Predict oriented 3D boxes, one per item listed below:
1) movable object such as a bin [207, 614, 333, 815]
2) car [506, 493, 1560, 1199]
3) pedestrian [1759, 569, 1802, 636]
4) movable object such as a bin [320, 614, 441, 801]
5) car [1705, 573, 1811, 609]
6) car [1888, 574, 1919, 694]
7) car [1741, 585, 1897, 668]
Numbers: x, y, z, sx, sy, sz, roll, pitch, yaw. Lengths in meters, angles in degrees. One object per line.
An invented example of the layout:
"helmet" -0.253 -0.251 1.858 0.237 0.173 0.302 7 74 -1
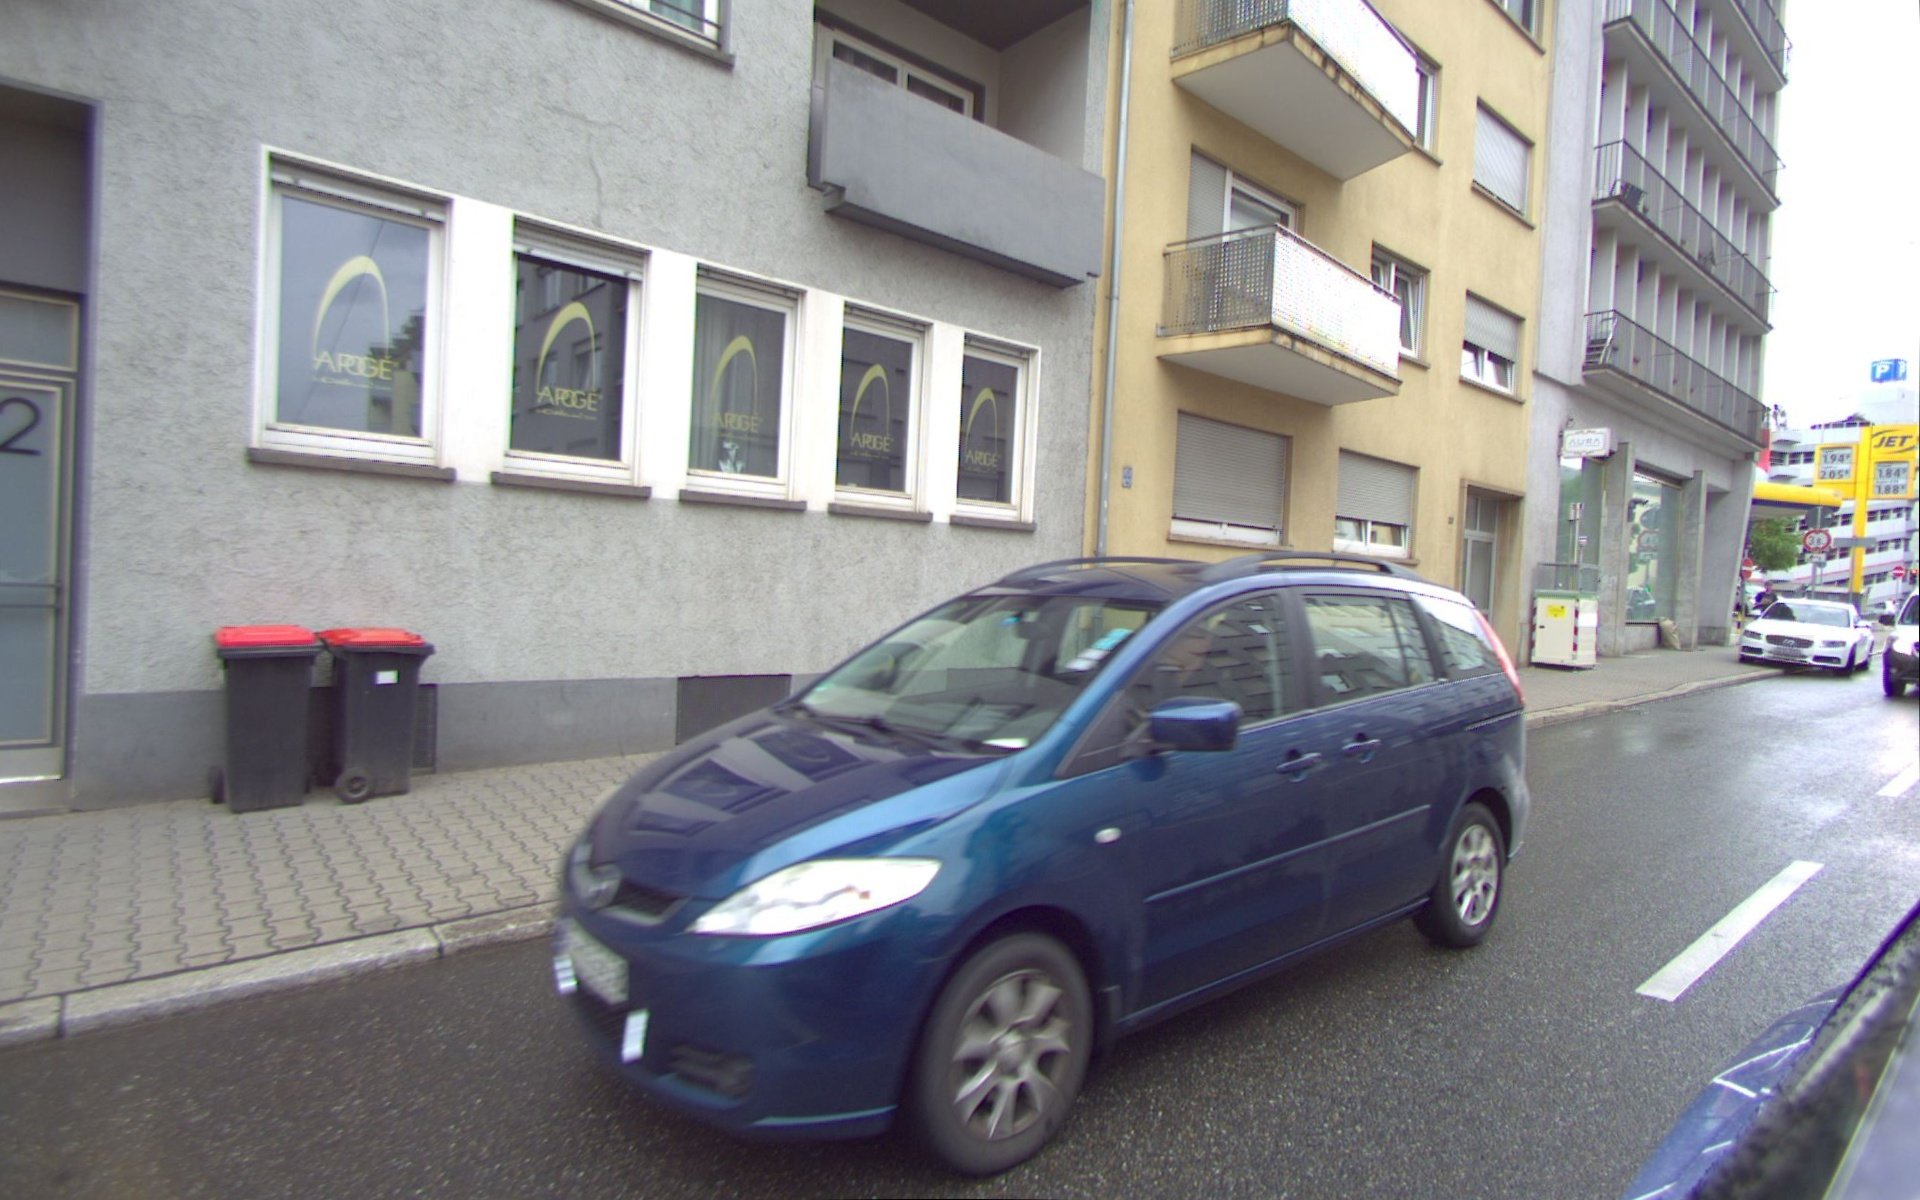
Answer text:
"movable object such as a bin" -3.757 0.588 5.505 0.506 0.967 0.541 0 4 -40
"car" 0.600 0.577 4.091 4.135 1.626 1.812 0 1 -39
"pedestrian" 22.536 0.056 27.801 0.872 1.777 0.679 0 2 -39
"movable object such as a bin" -3.343 0.588 5.831 0.506 0.961 0.541 0 4 -40
"car" 34.175 -0.366 43.485 1.742 1.493 3.992 0 0 7
"car" 16.439 0.509 16.092 4.662 1.797 1.944 0 1 -41
"car" 17.880 0.483 21.006 4.093 1.453 1.803 0 4 -41
